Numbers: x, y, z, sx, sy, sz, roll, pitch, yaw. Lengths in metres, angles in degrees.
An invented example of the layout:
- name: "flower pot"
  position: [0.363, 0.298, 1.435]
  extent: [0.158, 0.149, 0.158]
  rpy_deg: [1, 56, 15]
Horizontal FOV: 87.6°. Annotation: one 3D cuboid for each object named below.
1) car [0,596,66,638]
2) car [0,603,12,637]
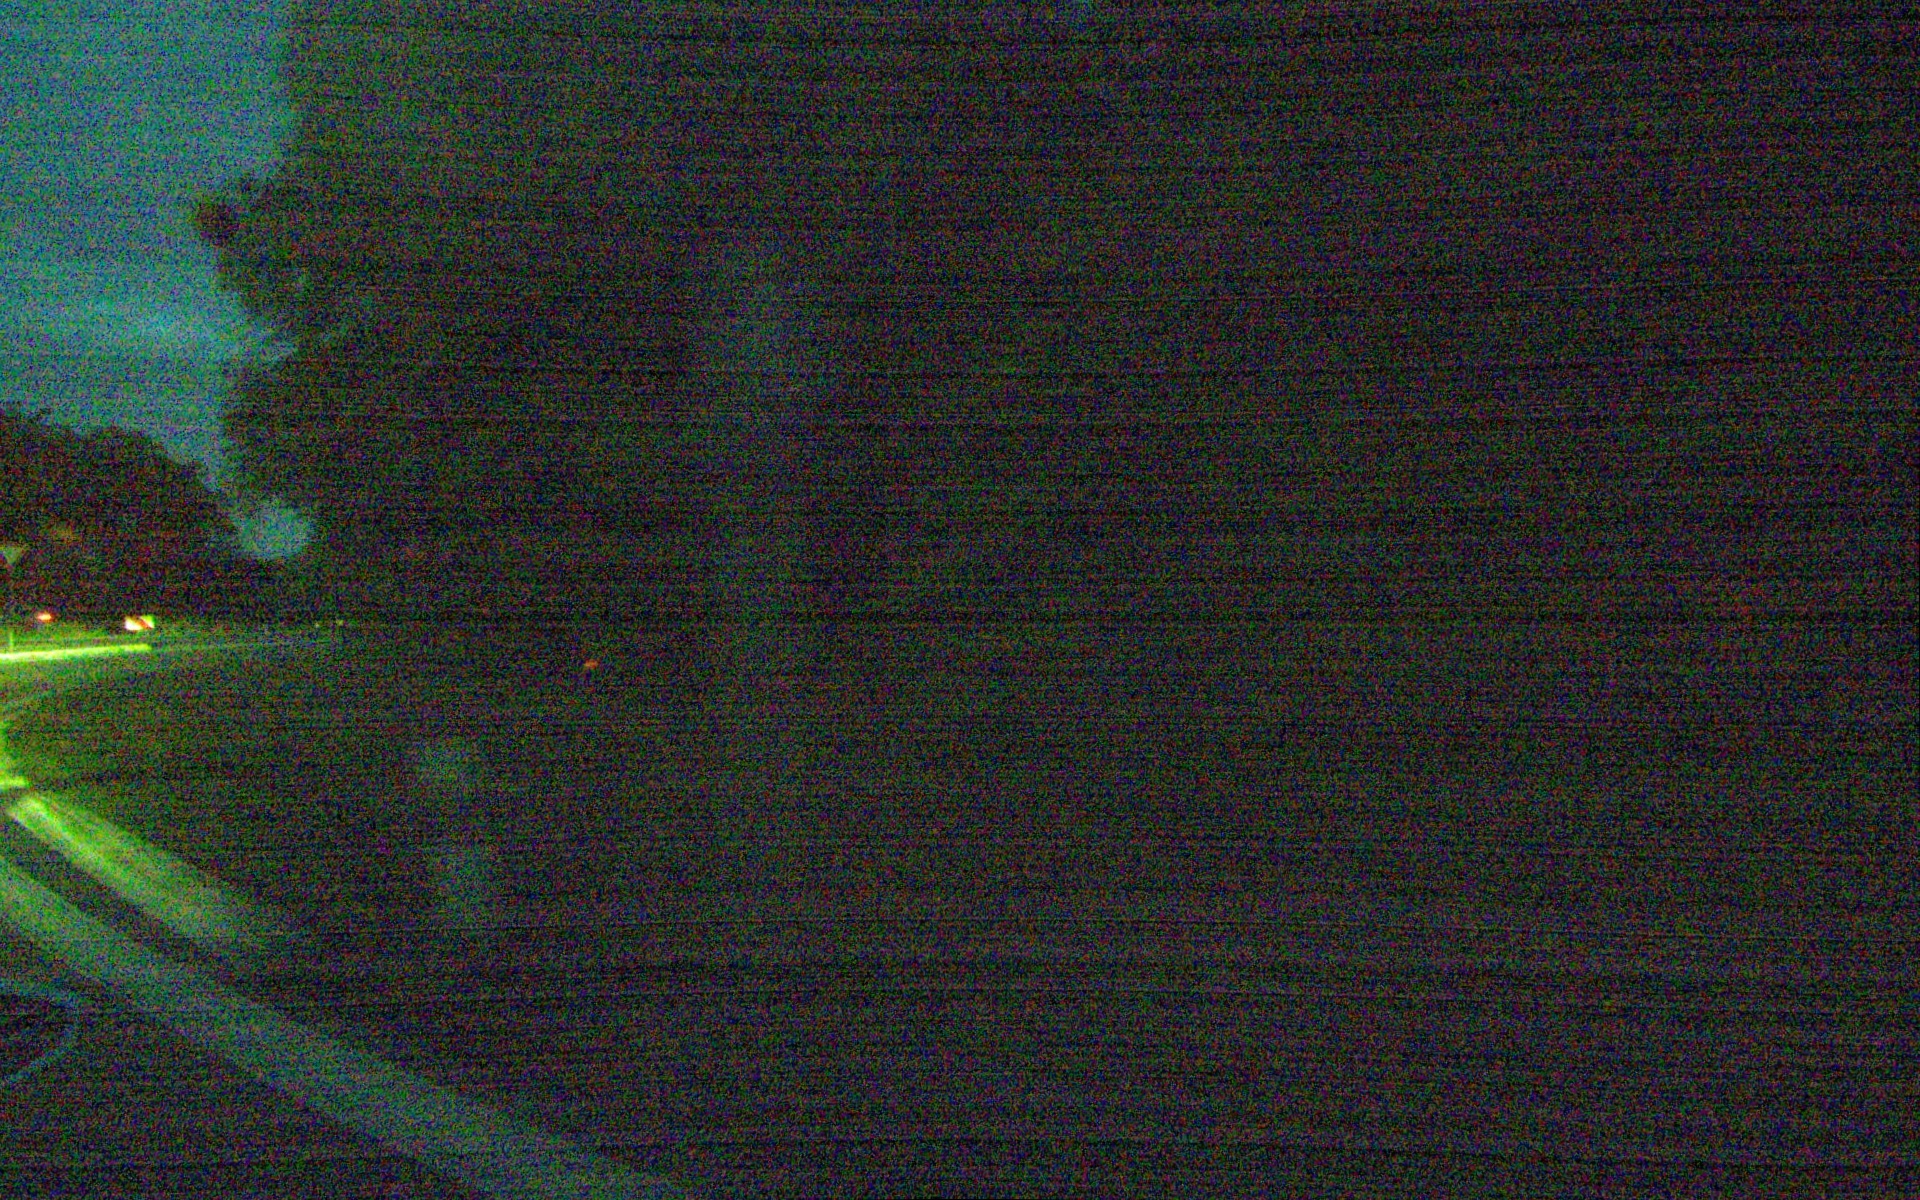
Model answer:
- name: "car"
  position: [-39.754, 0.682, 40.683]
  extent: [1.963, 1.703, 4.868]
  rpy_deg: [0, -1, 15]
- name: "car"
  position: [-43.043, 0.876, 41.754]
  extent: [1.964, 1.472, 4.727]
  rpy_deg: [0, 1, 16]
